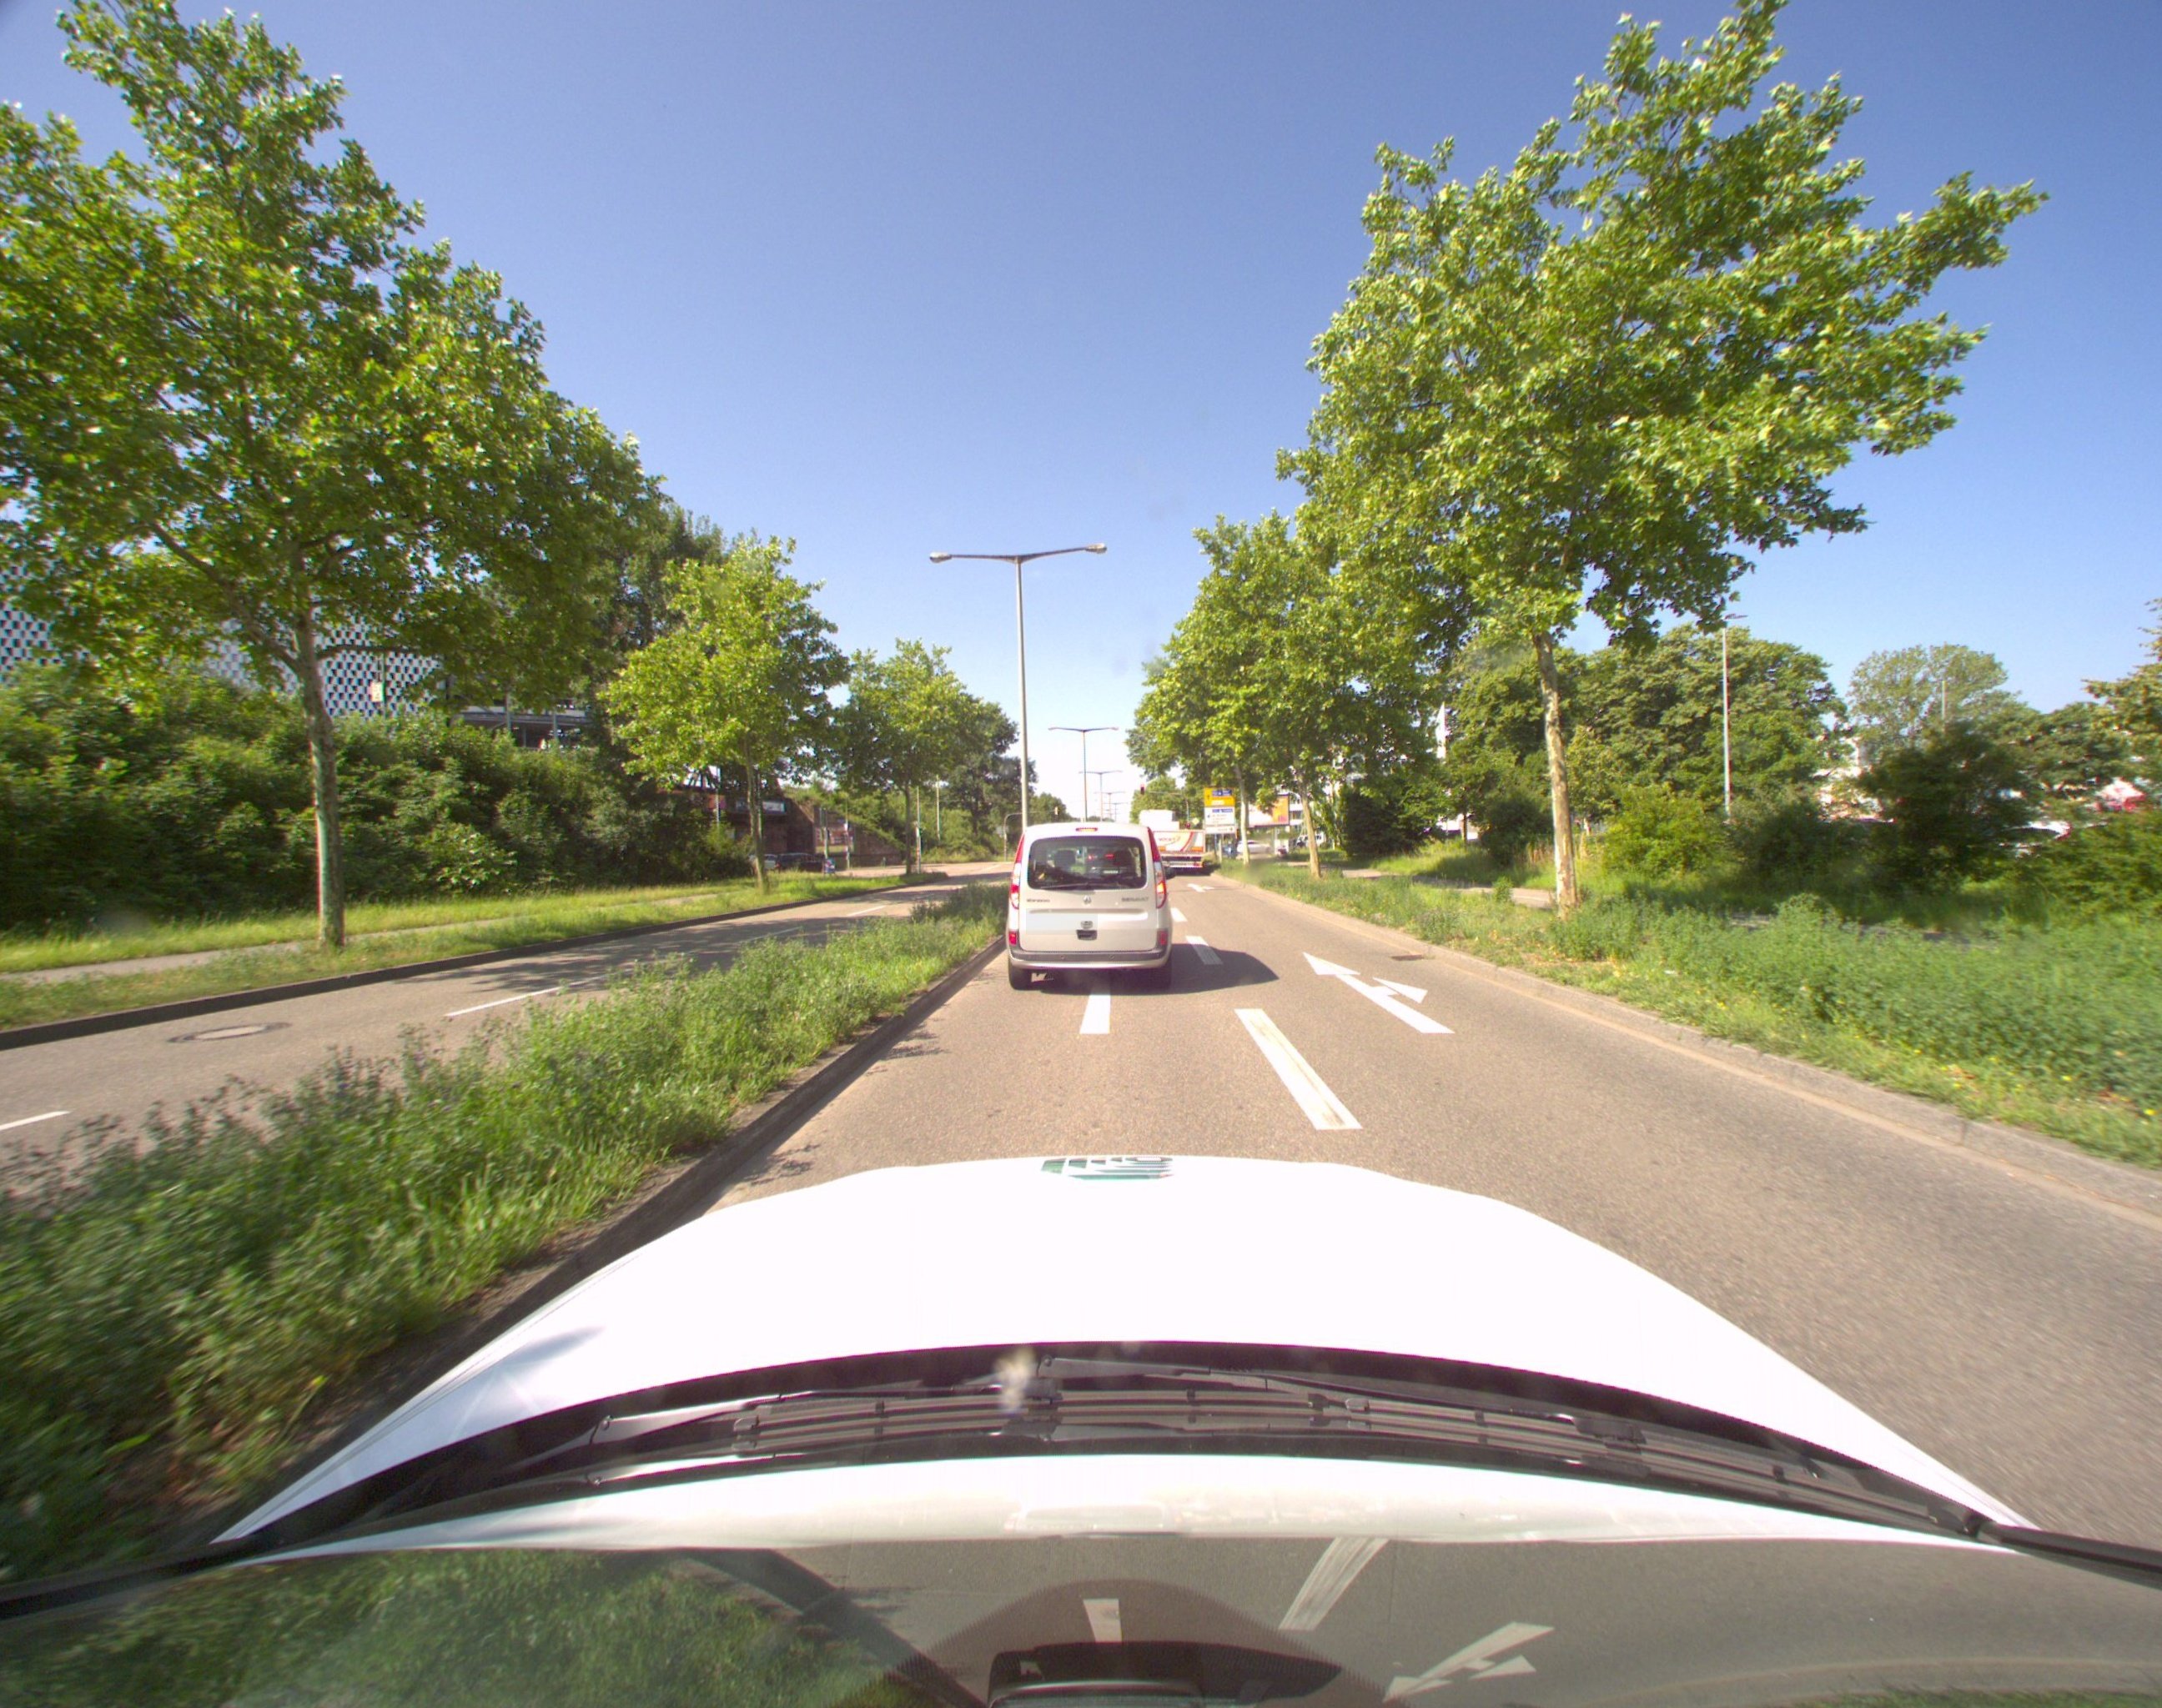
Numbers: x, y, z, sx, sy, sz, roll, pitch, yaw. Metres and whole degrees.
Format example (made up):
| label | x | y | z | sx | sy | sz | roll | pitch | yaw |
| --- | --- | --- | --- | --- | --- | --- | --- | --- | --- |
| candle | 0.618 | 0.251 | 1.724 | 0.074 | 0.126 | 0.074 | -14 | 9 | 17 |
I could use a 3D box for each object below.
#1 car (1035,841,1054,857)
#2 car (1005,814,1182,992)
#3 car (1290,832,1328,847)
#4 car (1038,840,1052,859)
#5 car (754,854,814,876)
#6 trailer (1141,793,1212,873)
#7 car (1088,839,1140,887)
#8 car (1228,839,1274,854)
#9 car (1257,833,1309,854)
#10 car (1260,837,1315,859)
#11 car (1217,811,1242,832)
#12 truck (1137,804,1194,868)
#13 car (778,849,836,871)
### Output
| label | x | y | z | sx | sy | sz | roll | pitch | yaw |
| --- | --- | --- | --- | --- | --- | --- | --- | --- | --- |
| car | -4.642 | -0.671 | 104.009 | 1.986 | 1.891 | 4.989 | -4 | 0 | 1 |
| car | 0.193 | 0.478 | 10.116 | 1.742 | 1.772 | 3.951 | -1 | 0 | 2 |
| car | 31.061 | -1.998 | 110.938 | 4.533 | 2.013 | 1.989 | -1 | 0 | -16 |
| car | -5.370 | -0.675 | 120.977 | 2.055 | 2.614 | 5.862 | -1 | 0 | -4 |
| car | -23.422 | 0.850 | 64.237 | 4.128 | 1.626 | 1.981 | -1 | 0 | -30 |
| trailer | 4.955 | -1.027 | 44.691 | 3.004 | 3.740 | 12.248 | -1 | 0 | 3 |
| car | 1.165 | 0.306 | 30.507 | 1.803 | 1.684 | 4.000 | -1 | 0 | 0 |
| car | 17.008 | -0.790 | 81.357 | 4.463 | 1.427 | 1.716 | -1 | 0 | -26 |
| car | 16.622 | -0.863 | 67.103 | 3.965 | 1.662 | 1.727 | -1 | 0 | 7 |
| car | 16.064 | -0.474 | 63.485 | 3.965 | 1.662 | 1.727 | -1 | 0 | 7 |
| car | 13.687 | -3.011 | 75.177 | 1.808 | 1.795 | 3.447 | -1 | 0 | 4 |
| truck | 5.276 | -1.110 | 52.084 | 3.060 | 3.757 | 7.479 | -1 | 0 | 1 |
| car | -20.567 | 0.449 | 61.100 | 4.001 | 1.574 | 1.925 | -1 | 0 | -21 |
